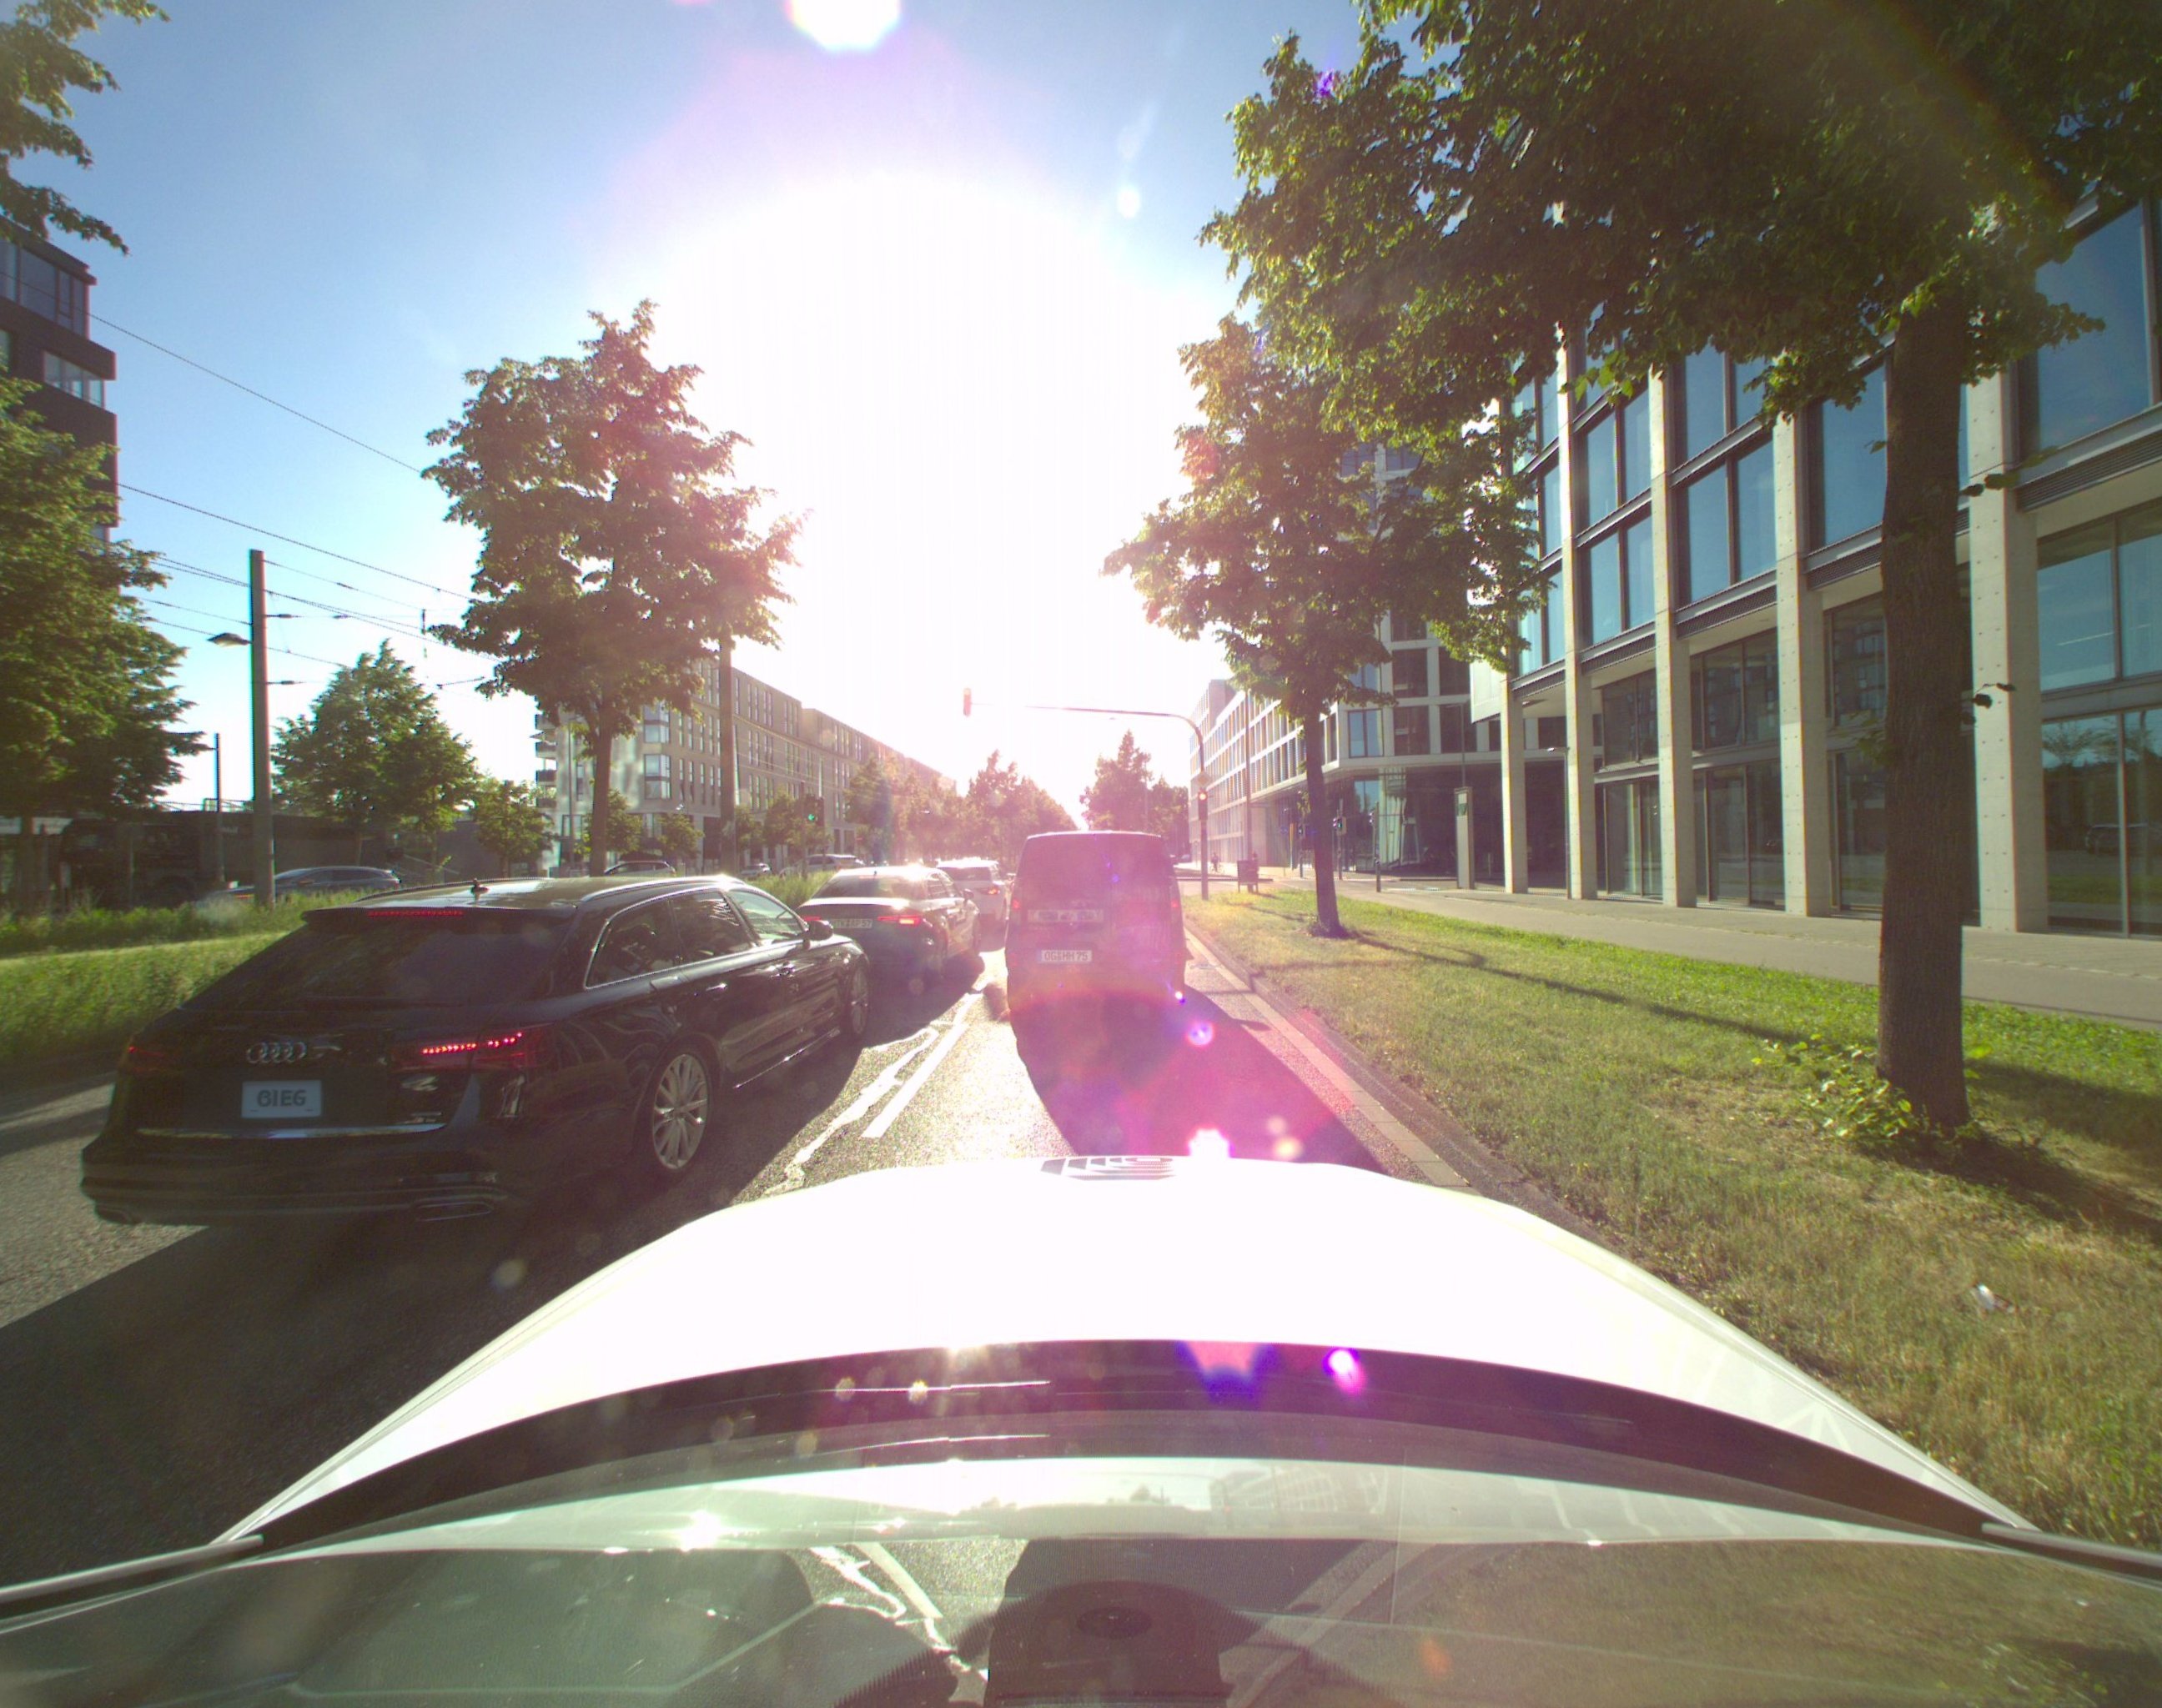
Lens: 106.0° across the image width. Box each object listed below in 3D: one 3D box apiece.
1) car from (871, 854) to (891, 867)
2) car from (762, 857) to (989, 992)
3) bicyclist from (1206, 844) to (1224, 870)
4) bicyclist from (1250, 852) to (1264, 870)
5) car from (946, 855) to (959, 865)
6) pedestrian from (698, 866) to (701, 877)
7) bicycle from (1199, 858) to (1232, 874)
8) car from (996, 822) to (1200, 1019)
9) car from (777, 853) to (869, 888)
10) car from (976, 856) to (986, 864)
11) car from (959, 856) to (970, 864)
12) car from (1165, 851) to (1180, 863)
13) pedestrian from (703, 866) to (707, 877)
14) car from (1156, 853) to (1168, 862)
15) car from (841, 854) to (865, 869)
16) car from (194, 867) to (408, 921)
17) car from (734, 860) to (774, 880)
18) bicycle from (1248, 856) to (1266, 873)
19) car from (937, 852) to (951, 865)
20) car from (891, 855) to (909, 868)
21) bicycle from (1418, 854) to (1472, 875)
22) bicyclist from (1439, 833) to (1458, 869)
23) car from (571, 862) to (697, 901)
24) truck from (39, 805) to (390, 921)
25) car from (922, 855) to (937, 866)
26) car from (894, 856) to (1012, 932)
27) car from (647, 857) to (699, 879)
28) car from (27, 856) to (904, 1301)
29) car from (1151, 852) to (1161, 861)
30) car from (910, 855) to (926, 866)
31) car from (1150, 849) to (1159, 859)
[{"bbox_3d":[-30.755,0.994,125.142,1.986,2.013,4.002,-1,0,2],"label":"car"},{"bbox_3d":[-2.492,0.780,11.068,1.835,1.426,4.340,-1,0,2],"label":"car"},{"bbox_3d":[10.050,0.231,61.175,0.820,1.947,0.992,-1,0,-30],"label":"bicyclist"},{"bbox_3d":[12.434,0.471,57.594,0.814,1.275,0.683,-1,0,4],"label":"bicyclist"},{"bbox_3d":[-28.902,1.337,183.366,1.986,2.013,4.002,-1,0,2],"label":"car"},{"bbox_3d":[-40.380,1.855,86.204,0.253,1.085,0.260,-1,0,1],"label":"pedestrian"},{"bbox_3d":[10.079,0.912,61.155,0.820,1.190,2.923,-1,0,-30],"label":"bicycle"},{"bbox_3d":[0.218,0.610,9.474,1.835,1.780,4.002,-1,0,2],"label":"car"},{"bbox_3d":[-11.523,0.741,36.307,4.161,1.492,1.529,-1,0,32],"label":"car"},{"bbox_3d":[-27.445,1.578,223.815,1.986,2.013,4.002,-1,0,2],"label":"car"},{"bbox_3d":[-28.613,1.432,200.185,1.986,2.013,4.002,-1,0,2],"label":"car"},{"bbox_3d":[14.324,0.433,127.823,1.986,1.782,4.002,-1,0,2],"label":"car"},{"bbox_3d":[-39.877,1.871,86.314,0.253,1.085,0.289,-1,0,1],"label":"pedestrian"},{"bbox_3d":[15.964,0.636,160.480,1.986,1.782,4.002,-1,0,2],"label":"car"},{"bbox_3d":[-30.881,0.995,110.596,1.986,2.013,4.002,-1,0,2],"label":"car"},{"bbox_3d":[-24.186,1.190,25.544,1.787,1.447,4.584,-1,0,13],"label":"car"},{"bbox_3d":[-31.797,1.541,79.247,1.986,1.814,4.372,-1,0,2],"label":"car"},{"bbox_3d":[12.428,0.744,57.624,0.814,1.114,2.849,-1,0,4],"label":"bicycle"},{"bbox_3d":[-28.436,0.973,169.292,1.986,2.607,4.002,-1,0,2],"label":"car"},{"bbox_3d":[-30.586,1.282,137.458,1.986,2.013,4.002,-1,0,2],"label":"car"},{"bbox_3d":[21.864,0.652,48.956,2.917,1.190,0.822,-1,0,19],"label":"bicycle"},{"bbox_3d":[22.074,-0.172,48.892,0.932,2.092,0.822,-1,0,19],"label":"bicyclist"},{"bbox_3d":[-19.410,1.153,35.478,4.589,1.447,1.785,-1,0,-37],"label":"car"},{"bbox_3d":[-33.628,0.295,32.648,2.880,3.853,10.217,-1,0,2],"label":"truck"},{"bbox_3d":[-29.695,1.195,159.383,1.986,2.013,4.002,-1,0,2],"label":"car"},{"bbox_3d":[-2.646,0.786,17.720,1.797,1.426,3.902,-1,0,2],"label":"car"},{"bbox_3d":[-31.044,1.044,62.075,1.758,1.520,4.002,-1,0,2],"label":"car"},{"bbox_3d":[-2.680,0.785,5.314,1.868,1.484,4.967,-1,0,1],"label":"car"},{"bbox_3d":[16.506,0.549,179.682,1.986,1.782,4.002,-1,0,2],"label":"car"},{"bbox_3d":[-30.108,1.139,150.286,1.986,2.013,4.002,-1,0,2],"label":"car"},{"bbox_3d":[17.889,0.031,198.183,1.986,2.497,4.988,-1,0,2],"label":"car"}]
